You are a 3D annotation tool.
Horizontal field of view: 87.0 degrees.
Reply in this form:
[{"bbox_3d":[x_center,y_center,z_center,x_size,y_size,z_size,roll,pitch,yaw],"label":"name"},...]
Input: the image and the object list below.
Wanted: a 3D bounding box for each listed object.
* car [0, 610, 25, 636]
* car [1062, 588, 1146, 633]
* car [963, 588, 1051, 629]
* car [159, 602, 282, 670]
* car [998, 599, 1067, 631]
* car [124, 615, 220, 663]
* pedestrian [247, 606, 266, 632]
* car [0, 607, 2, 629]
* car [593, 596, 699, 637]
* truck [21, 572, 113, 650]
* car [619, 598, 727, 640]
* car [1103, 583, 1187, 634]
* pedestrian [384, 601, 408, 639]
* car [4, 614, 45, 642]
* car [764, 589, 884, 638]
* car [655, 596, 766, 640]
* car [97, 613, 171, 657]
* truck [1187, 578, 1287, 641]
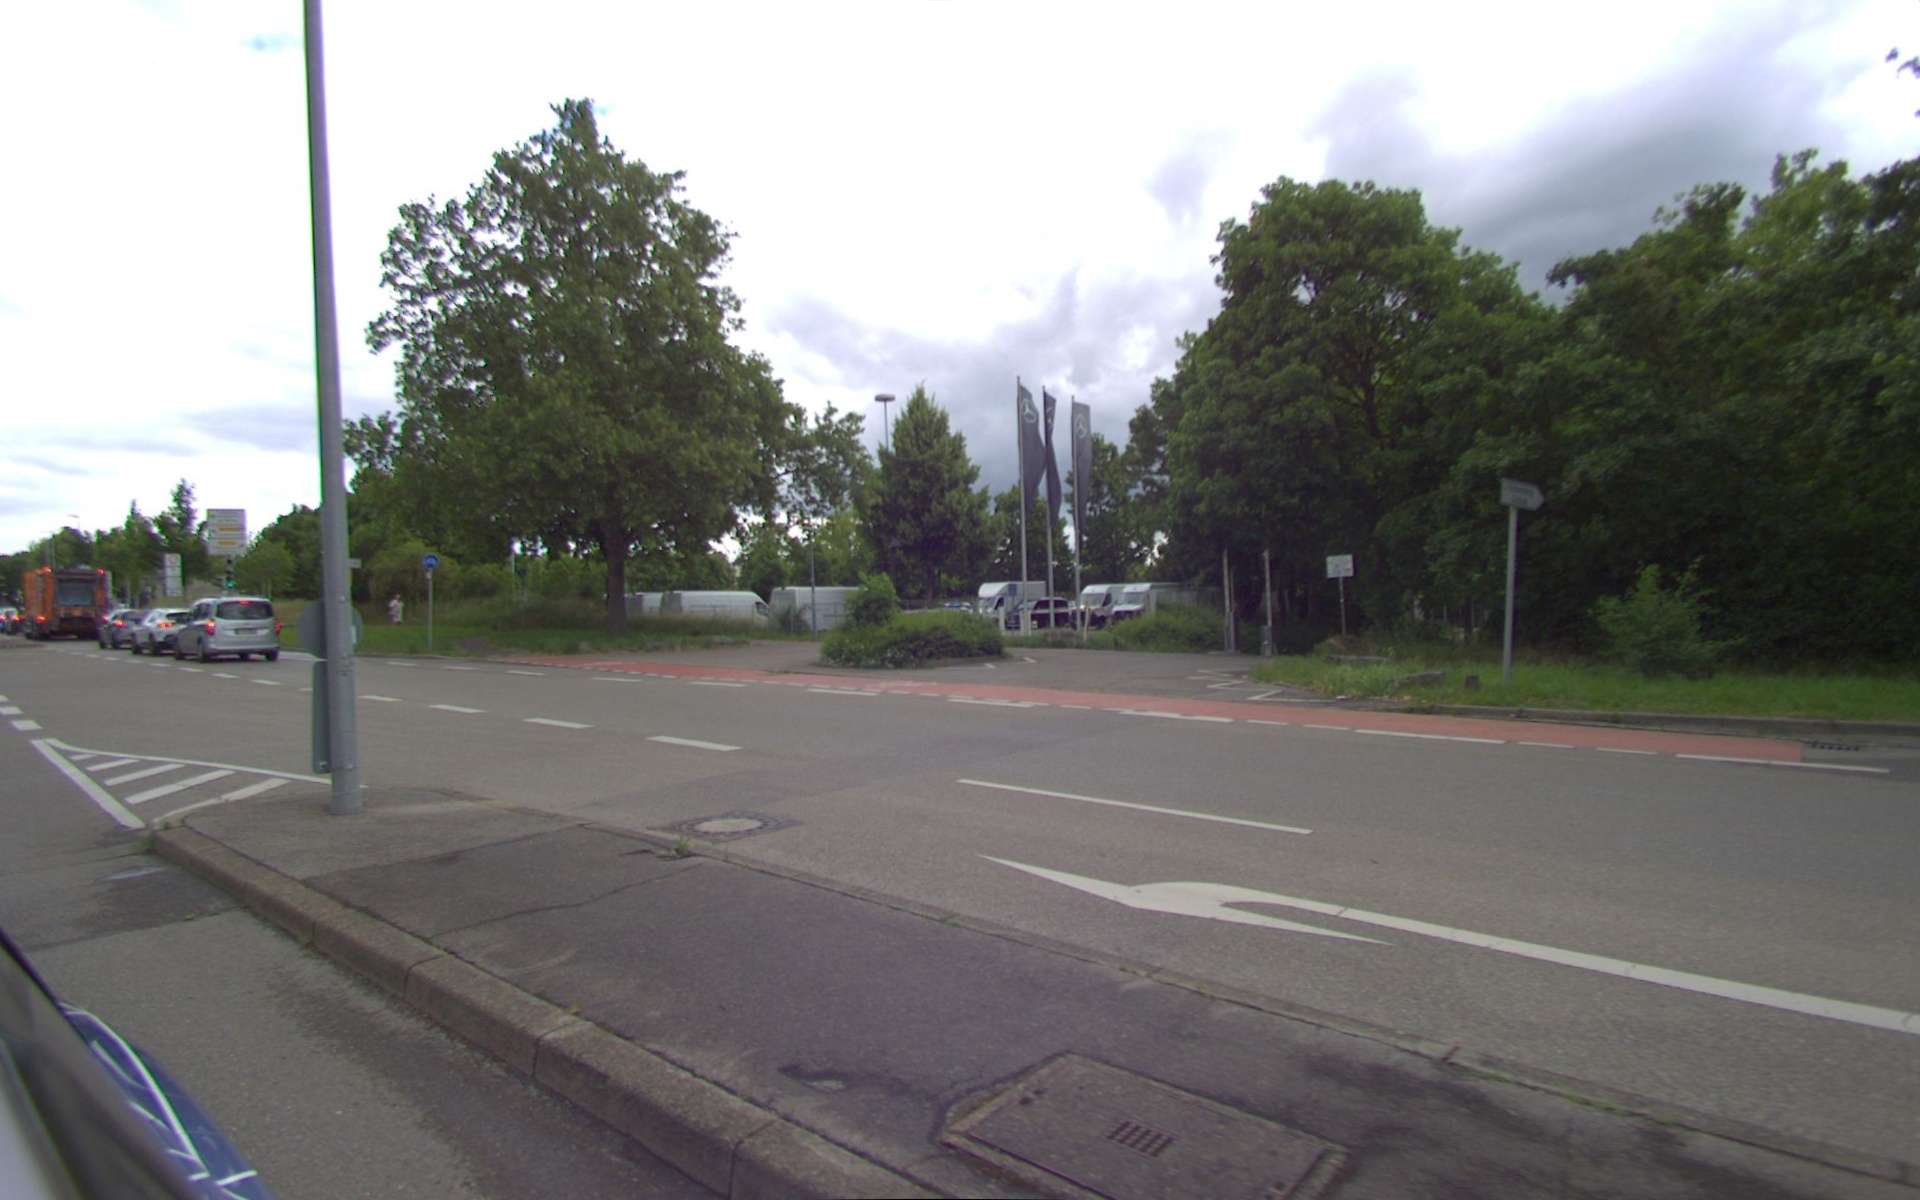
[{"bbox_3d":[-61.577,1.460,65.346,3.584,1.630,1.570,-1,0,44],"label":"car"},{"bbox_3d":[8.683,0.552,60.368,1.996,2.431,6.877,0,1,36],"label":"car"},{"bbox_3d":[3.172,0.490,66.462,1.999,2.431,6.868,0,1,41],"label":"car"},{"bbox_3d":[-21.307,0.974,29.096,4.402,1.783,1.810,-1,1,39],"label":"car"},{"bbox_3d":[4.572,0.911,63.347,1.996,1.820,4.886,0,1,36],"label":"car"},{"bbox_3d":[-25.810,1.233,33.095,4.120,1.497,1.711,-1,-1,41],"label":"car"},{"bbox_3d":[-40.755,1.085,58.620,0.638,1.458,0.747,0,1,40],"label":"pedestrian"},{"bbox_3d":[-71.214,1.310,74.000,3.584,1.630,1.570,-1,0,44],"label":"car"},{"bbox_3d":[-16.452,0.865,53.201,1.738,2.029,5.232,0,-1,39],"label":"car"},{"bbox_3d":[-43.909,0.513,49.669,7.825,3.507,2.793,0,0,44],"label":"truck"},{"bbox_3d":[-14.540,0.967,51.548,1.738,2.029,5.232,-1,-2,39],"label":"car"},{"bbox_3d":[10.787,0.429,58.612,1.996,2.706,6.877,0,1,36],"label":"car"},{"bbox_3d":[-26.583,0.940,47.702,0.637,1.750,0.749,0,1,32],"label":"pedestrian"},{"bbox_3d":[-55.270,1.628,59.777,3.352,1.630,1.570,-1,0,44],"label":"car"},{"bbox_3d":[-5.870,0.600,44.294,2.010,2.029,5.232,0,-1,39],"label":"car"},{"bbox_3d":[-12.108,0.878,49.503,1.738,2.029,5.230,0,-1,40],"label":"car"},{"bbox_3d":[-31.303,1.289,38.317,3.349,1.574,1.618,-1,0,41],"label":"car"},{"bbox_3d":[14.392,0.377,52.251,2.706,2.992,6.715,0,1,37],"label":"truck"}]
